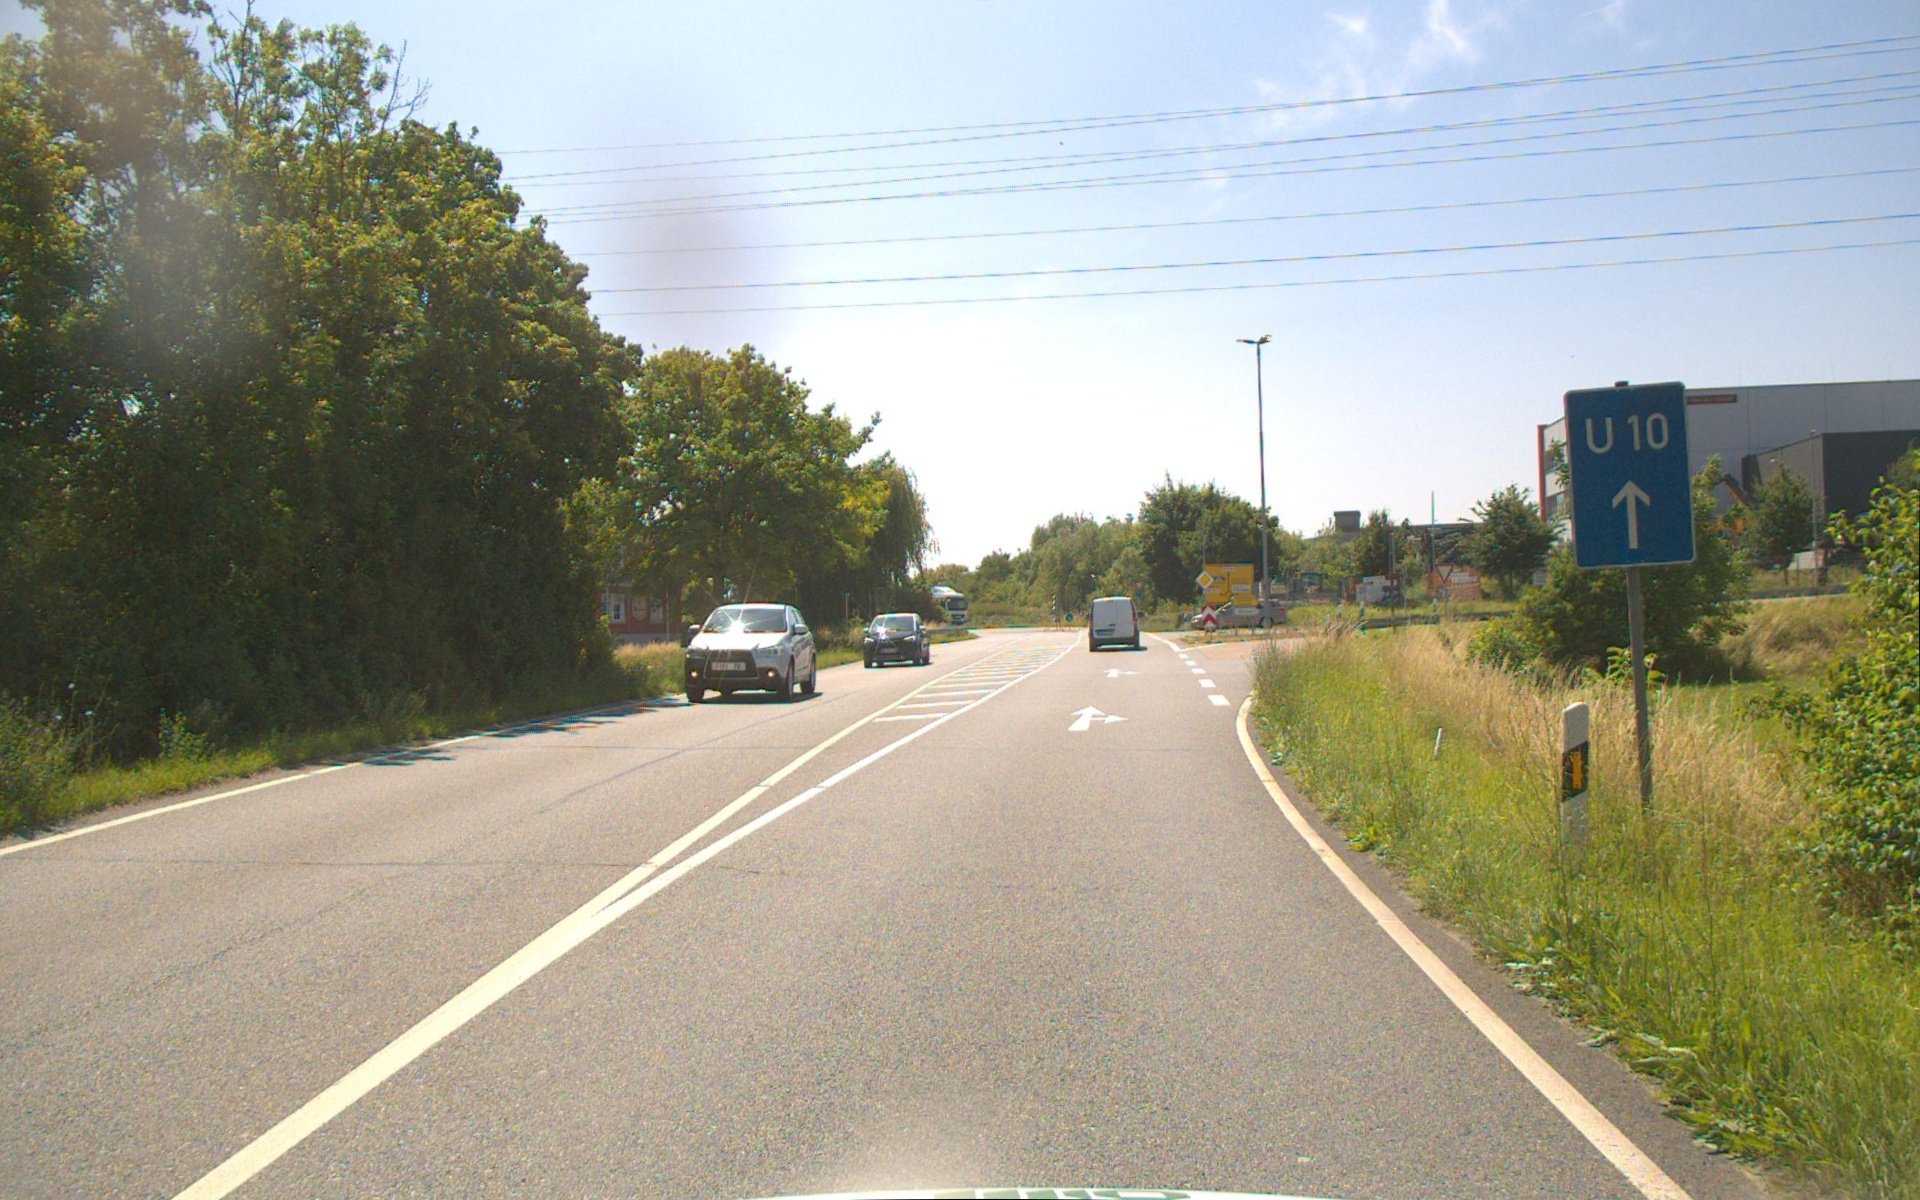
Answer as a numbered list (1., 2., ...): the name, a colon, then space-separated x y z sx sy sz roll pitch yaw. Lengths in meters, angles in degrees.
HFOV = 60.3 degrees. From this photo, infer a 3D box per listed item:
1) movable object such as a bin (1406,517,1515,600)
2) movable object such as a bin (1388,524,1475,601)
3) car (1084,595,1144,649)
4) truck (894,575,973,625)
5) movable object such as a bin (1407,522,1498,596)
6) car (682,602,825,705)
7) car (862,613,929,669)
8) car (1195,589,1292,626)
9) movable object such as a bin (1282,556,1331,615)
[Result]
1. movable object such as a bin: 33.565 -2.725 111.257 6.450 5.238 3.809 0 -2 8
2. movable object such as a bin: 34.209 -2.689 120.203 5.594 5.362 3.223 0 -2 8
3. car: 5.322 0.776 57.551 1.864 1.763 3.823 -2 -1 3
4. truck: -2.295 0.043 139.625 6.634 4.127 2.782 0 0 43
5. movable object such as a bin: 30.498 -2.513 102.581 4.976 4.350 2.836 0 -2 8
6. car: -3.470 0.865 28.622 1.705 1.617 4.531 0 0 3
7. car: -1.930 1.224 50.635 1.696 1.618 3.959 -1 -1 2
8. car: 13.600 0.364 79.653 4.416 1.534 1.916 -3 0 5
9. movable object such as a bin: 20.857 -0.801 99.719 2.274 3.307 5.104 0 -2 5
